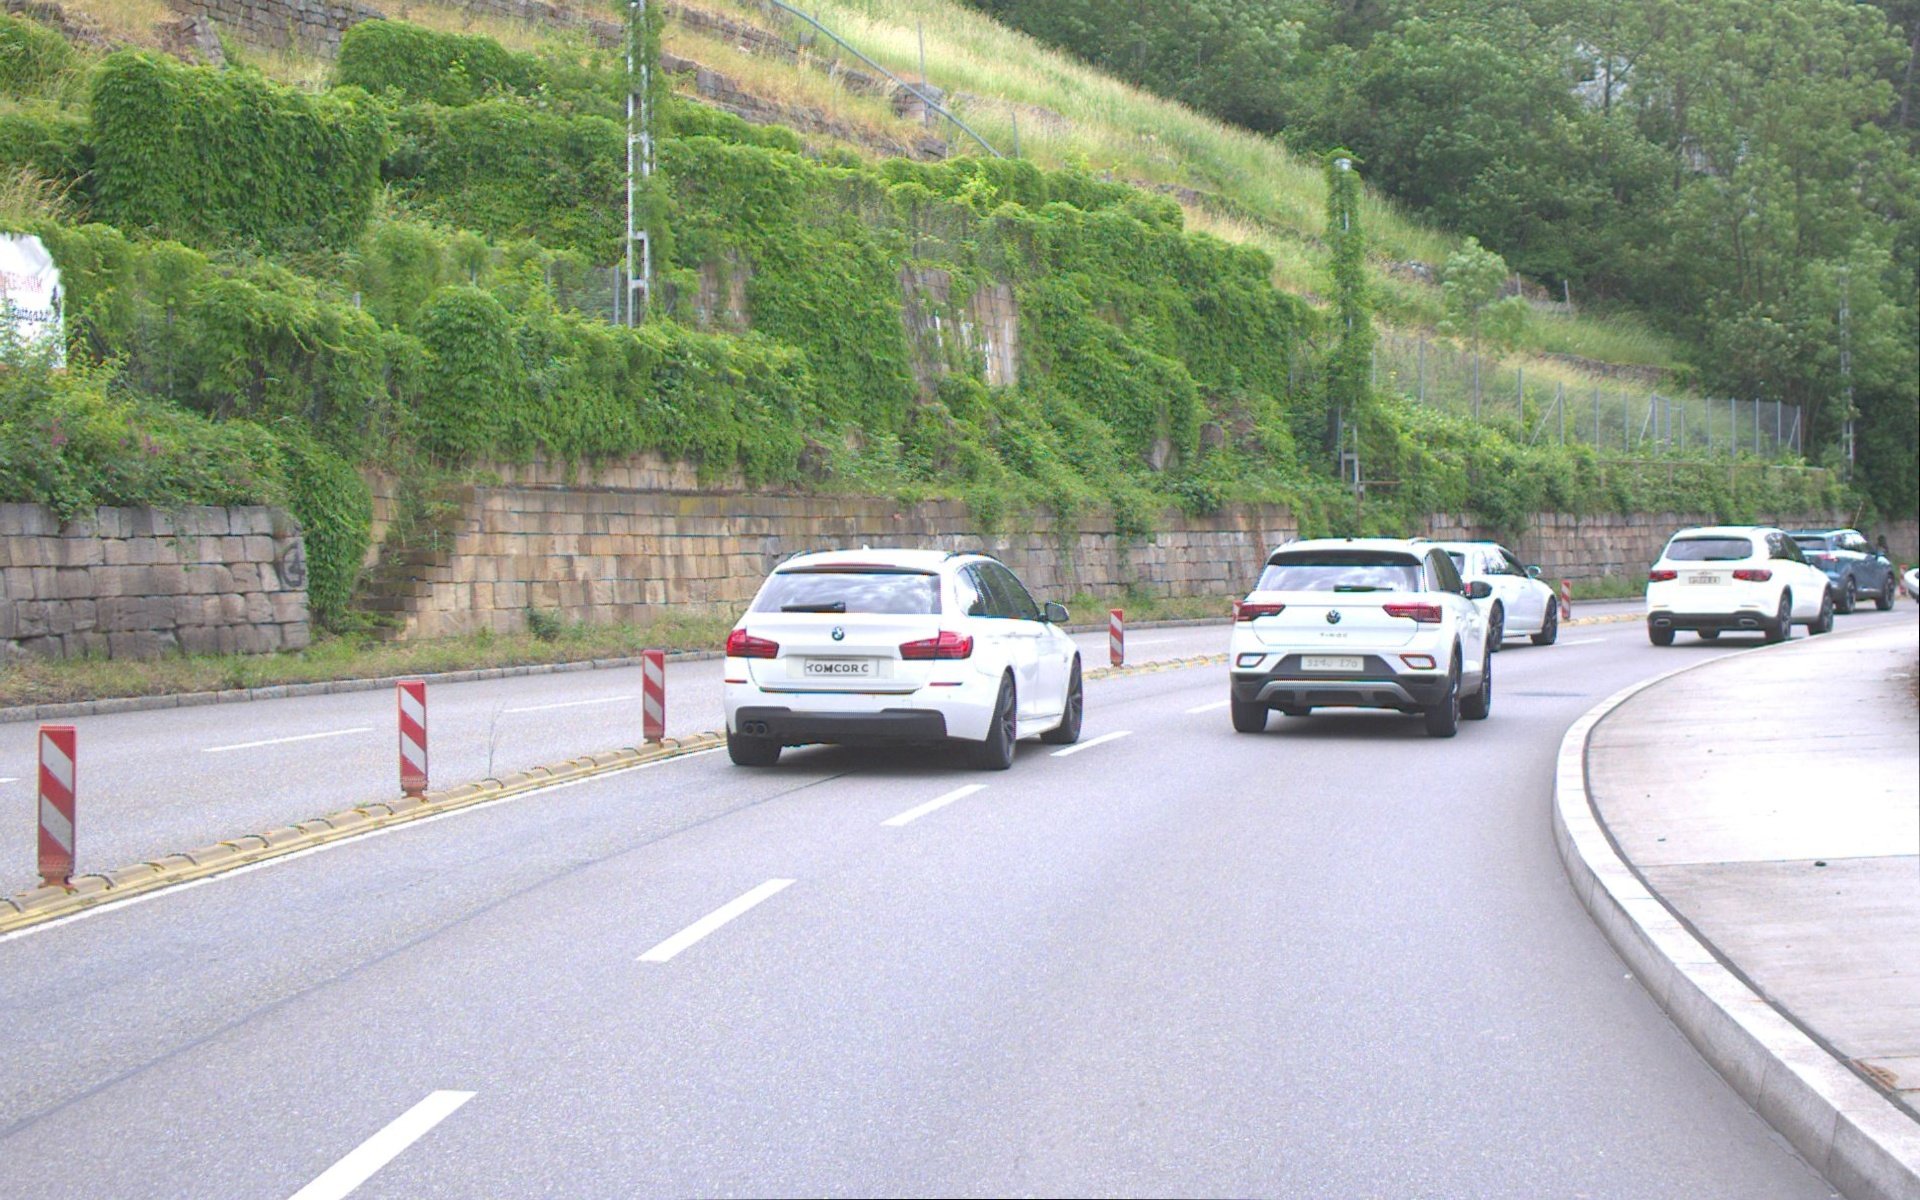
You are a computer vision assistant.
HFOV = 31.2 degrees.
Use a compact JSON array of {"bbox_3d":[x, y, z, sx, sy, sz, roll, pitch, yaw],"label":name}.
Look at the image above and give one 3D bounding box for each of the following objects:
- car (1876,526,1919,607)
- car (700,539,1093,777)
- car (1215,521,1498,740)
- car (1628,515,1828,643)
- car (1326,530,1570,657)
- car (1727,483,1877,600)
[{"bbox_3d":[21.148,-0.734,74.015,1.996,1.711,3.994,0,1,27],"label":"car"},{"bbox_3d":[-0.329,0.354,23.975,1.829,1.455,4.484,1,0,11],"label":"car"},{"bbox_3d":[3.342,0.207,28.339,1.829,1.600,3.998,2,1,13],"label":"car"},{"bbox_3d":[10.840,-0.329,48.321,1.996,1.712,4.109,1,1,23],"label":"car"},{"bbox_3d":[6.705,-0.117,46.825,1.996,1.498,4.662,-5,-1,24],"label":"car"},{"bbox_3d":[15.744,-1.087,64.139,1.996,2.007,3.995,-3,-1,23],"label":"car"}]
